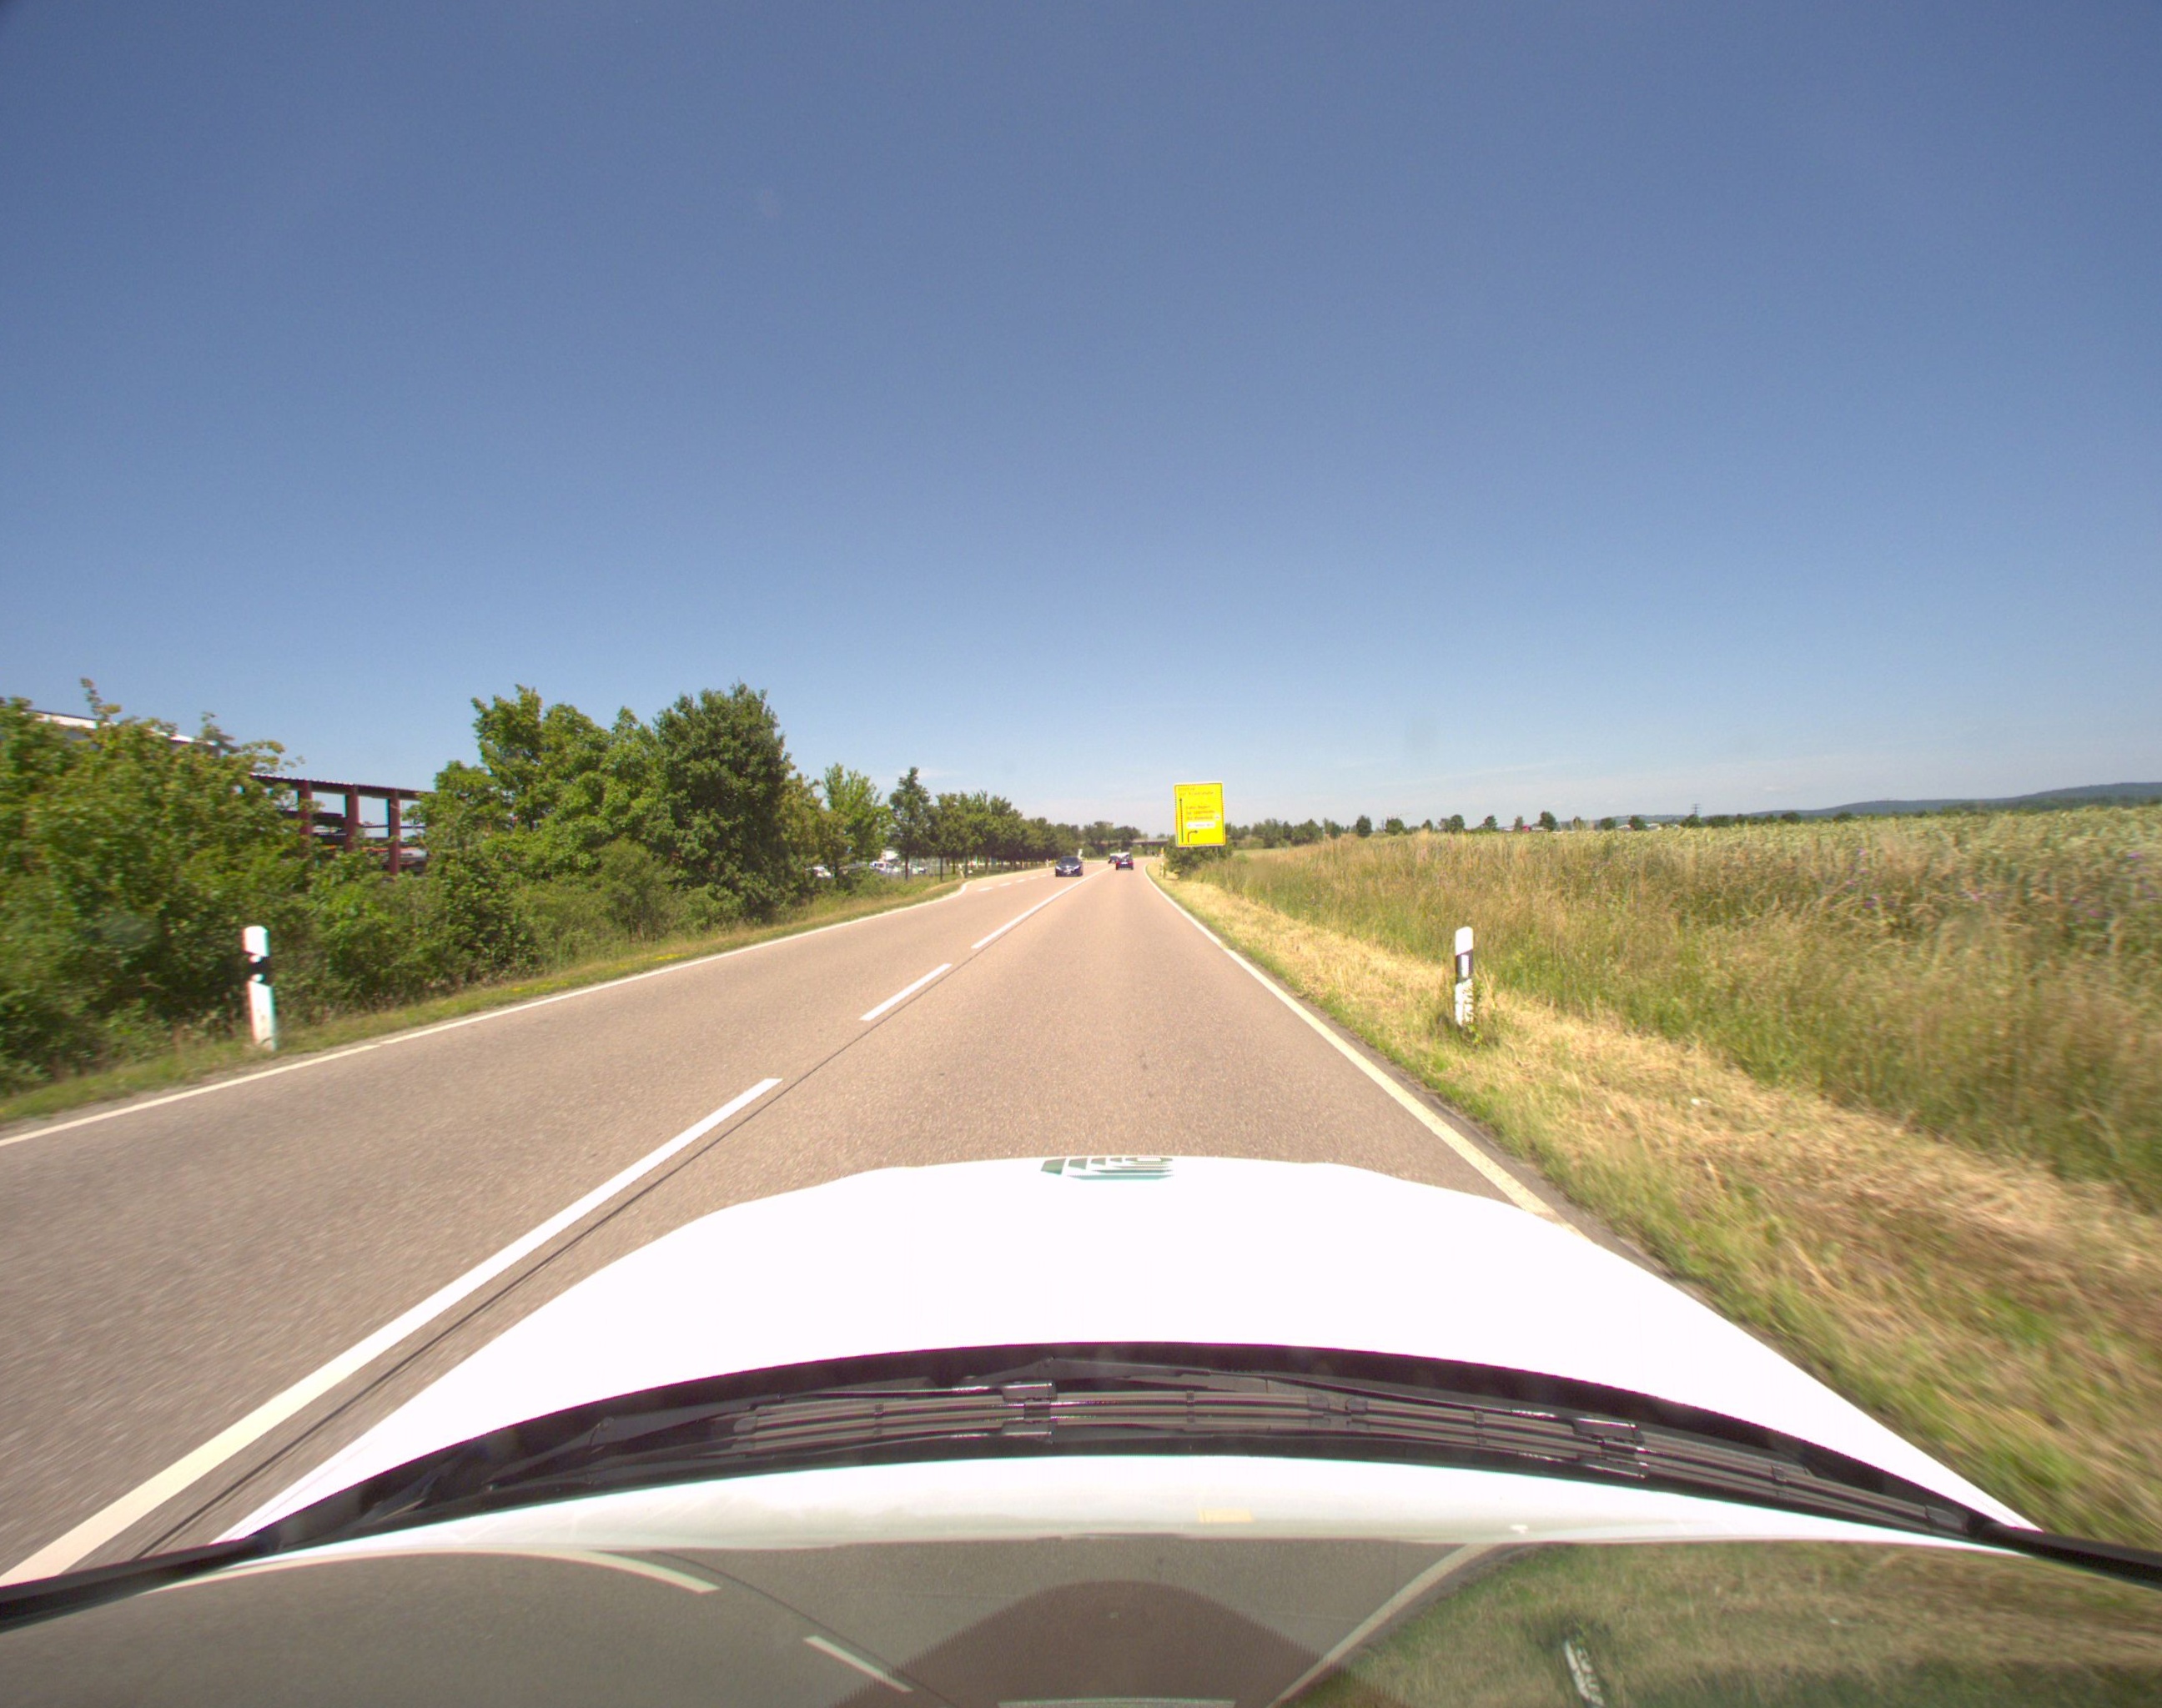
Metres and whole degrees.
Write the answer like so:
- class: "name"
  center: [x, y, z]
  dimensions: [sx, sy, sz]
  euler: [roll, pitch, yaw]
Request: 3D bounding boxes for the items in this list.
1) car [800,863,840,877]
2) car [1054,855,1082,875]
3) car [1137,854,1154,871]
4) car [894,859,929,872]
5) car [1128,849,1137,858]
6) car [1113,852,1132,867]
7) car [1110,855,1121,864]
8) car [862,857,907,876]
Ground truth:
- class: "car"
  center: [-27.270, 1.693, 85.124]
  dimensions: [3.674, 1.409, 1.642]
  euler: [-1, 0, 0]
- class: "car"
  center: [-0.910, 0.777, 59.576]
  dimensions: [1.774, 1.420, 4.537]
  euler: [-1, 0, 3]
- class: "car"
  center: [8.073, 1.050, 102.155]
  dimensions: [1.741, 2.014, 3.999]
  euler: [0, -1, 0]
- class: "car"
  center: [-21.315, 1.457, 102.555]
  dimensions: [4.010, 1.480, 1.655]
  euler: [-1, 0, -35]
- class: "car"
  center: [11.710, -0.108, 185.517]
  dimensions: [1.984, 2.014, 4.004]
  euler: [0, -1, 4]
- class: "car"
  center: [4.133, 0.589, 81.341]
  dimensions: [1.807, 1.441, 4.001]
  euler: [-1, 0, 2]
- class: "car"
  center: [5.570, 0.898, 131.429]
  dimensions: [1.629, 1.268, 3.814]
  euler: [-1, 0, 2]
- class: "car"
  center: [-22.538, 1.423, 93.523]
  dimensions: [4.677, 1.954, 1.810]
  euler: [-1, 0, -28]
